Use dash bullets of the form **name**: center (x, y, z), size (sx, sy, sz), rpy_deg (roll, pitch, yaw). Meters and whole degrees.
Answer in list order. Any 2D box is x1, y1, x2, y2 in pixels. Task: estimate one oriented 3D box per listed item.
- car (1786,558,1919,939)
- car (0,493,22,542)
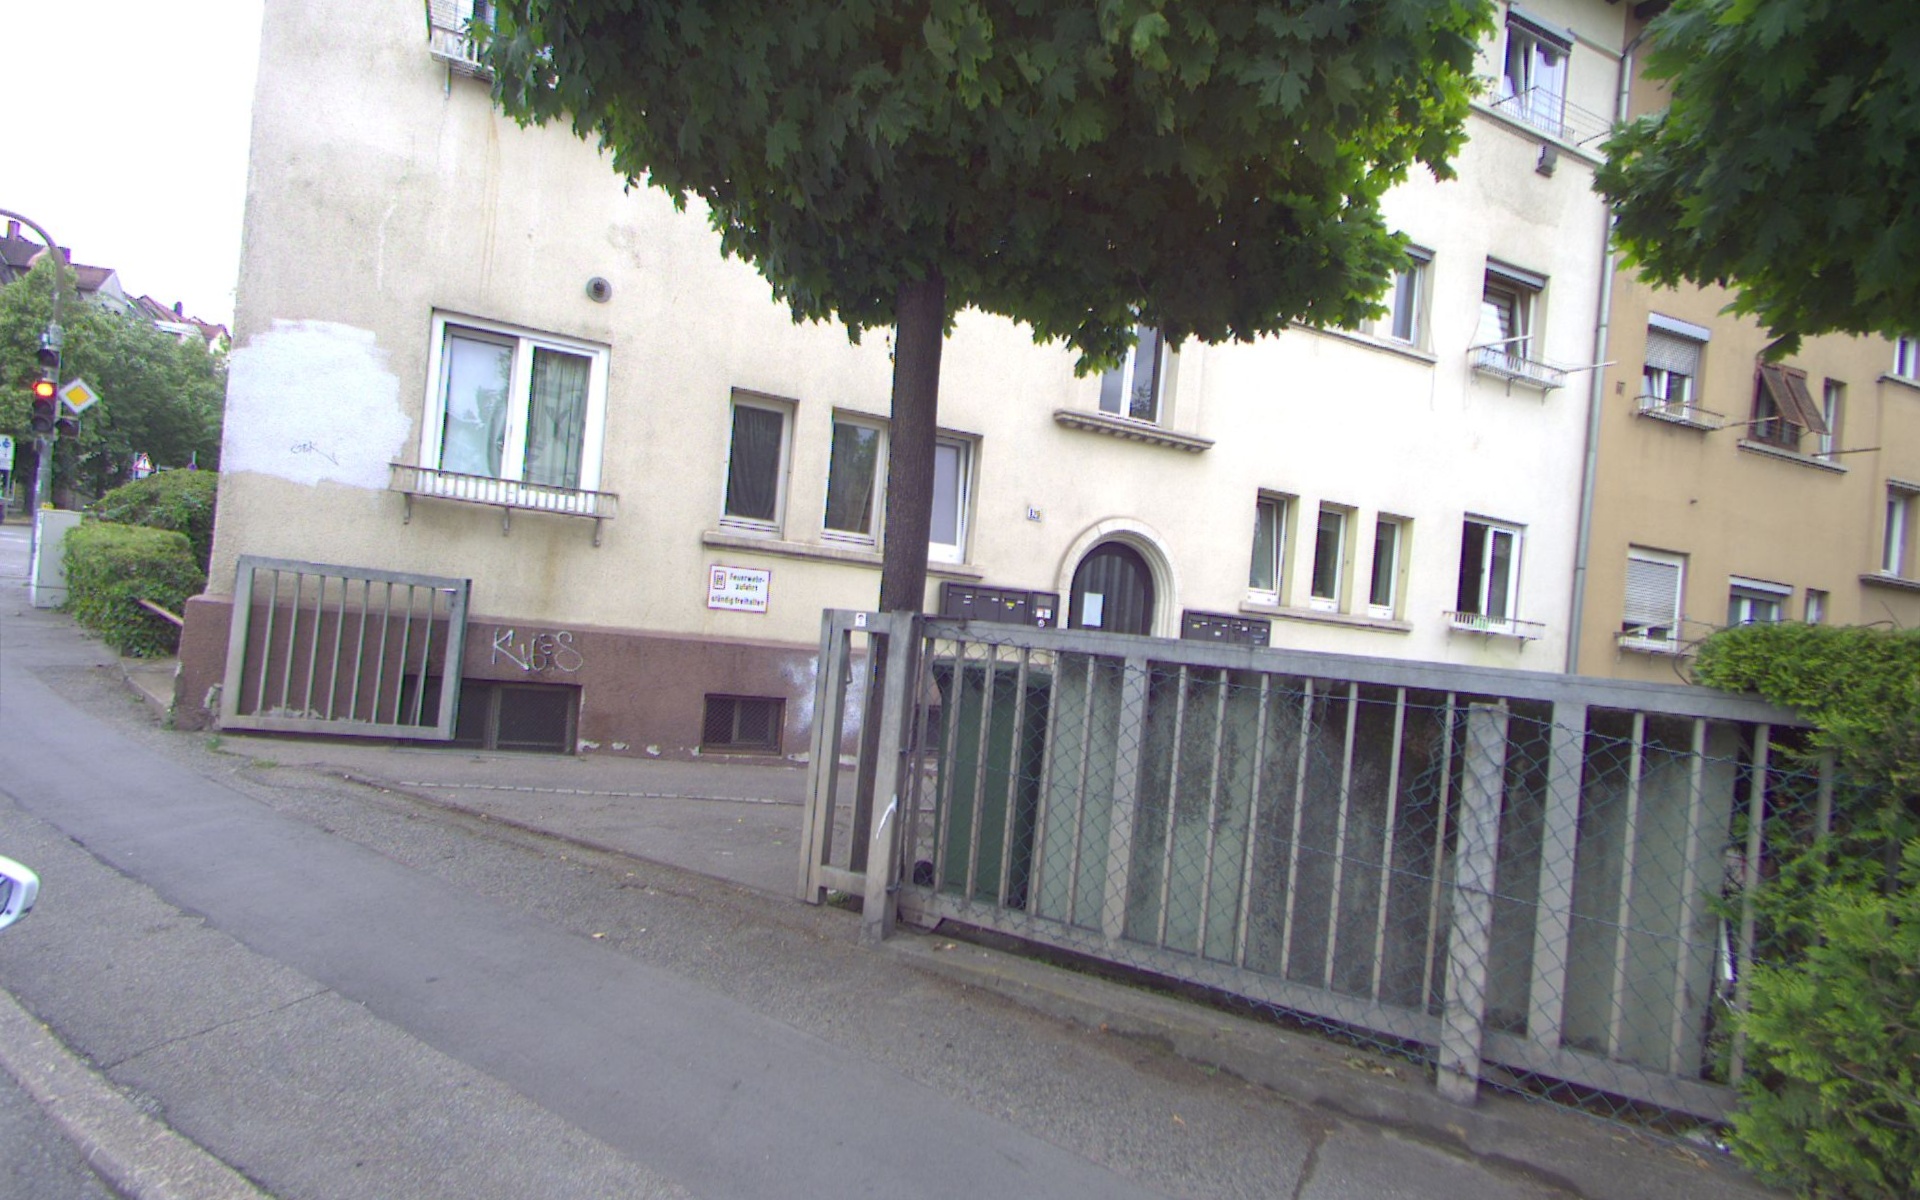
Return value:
- **car**: center (5.541, 0.795, 3.784), size (3.381, 1.477, 1.700), rpy_deg (6, -2, 30)
- **car**: center (-33.752, -3.060, 32.925), size (3.931, 1.547, 1.999), rpy_deg (9, -2, -6)
